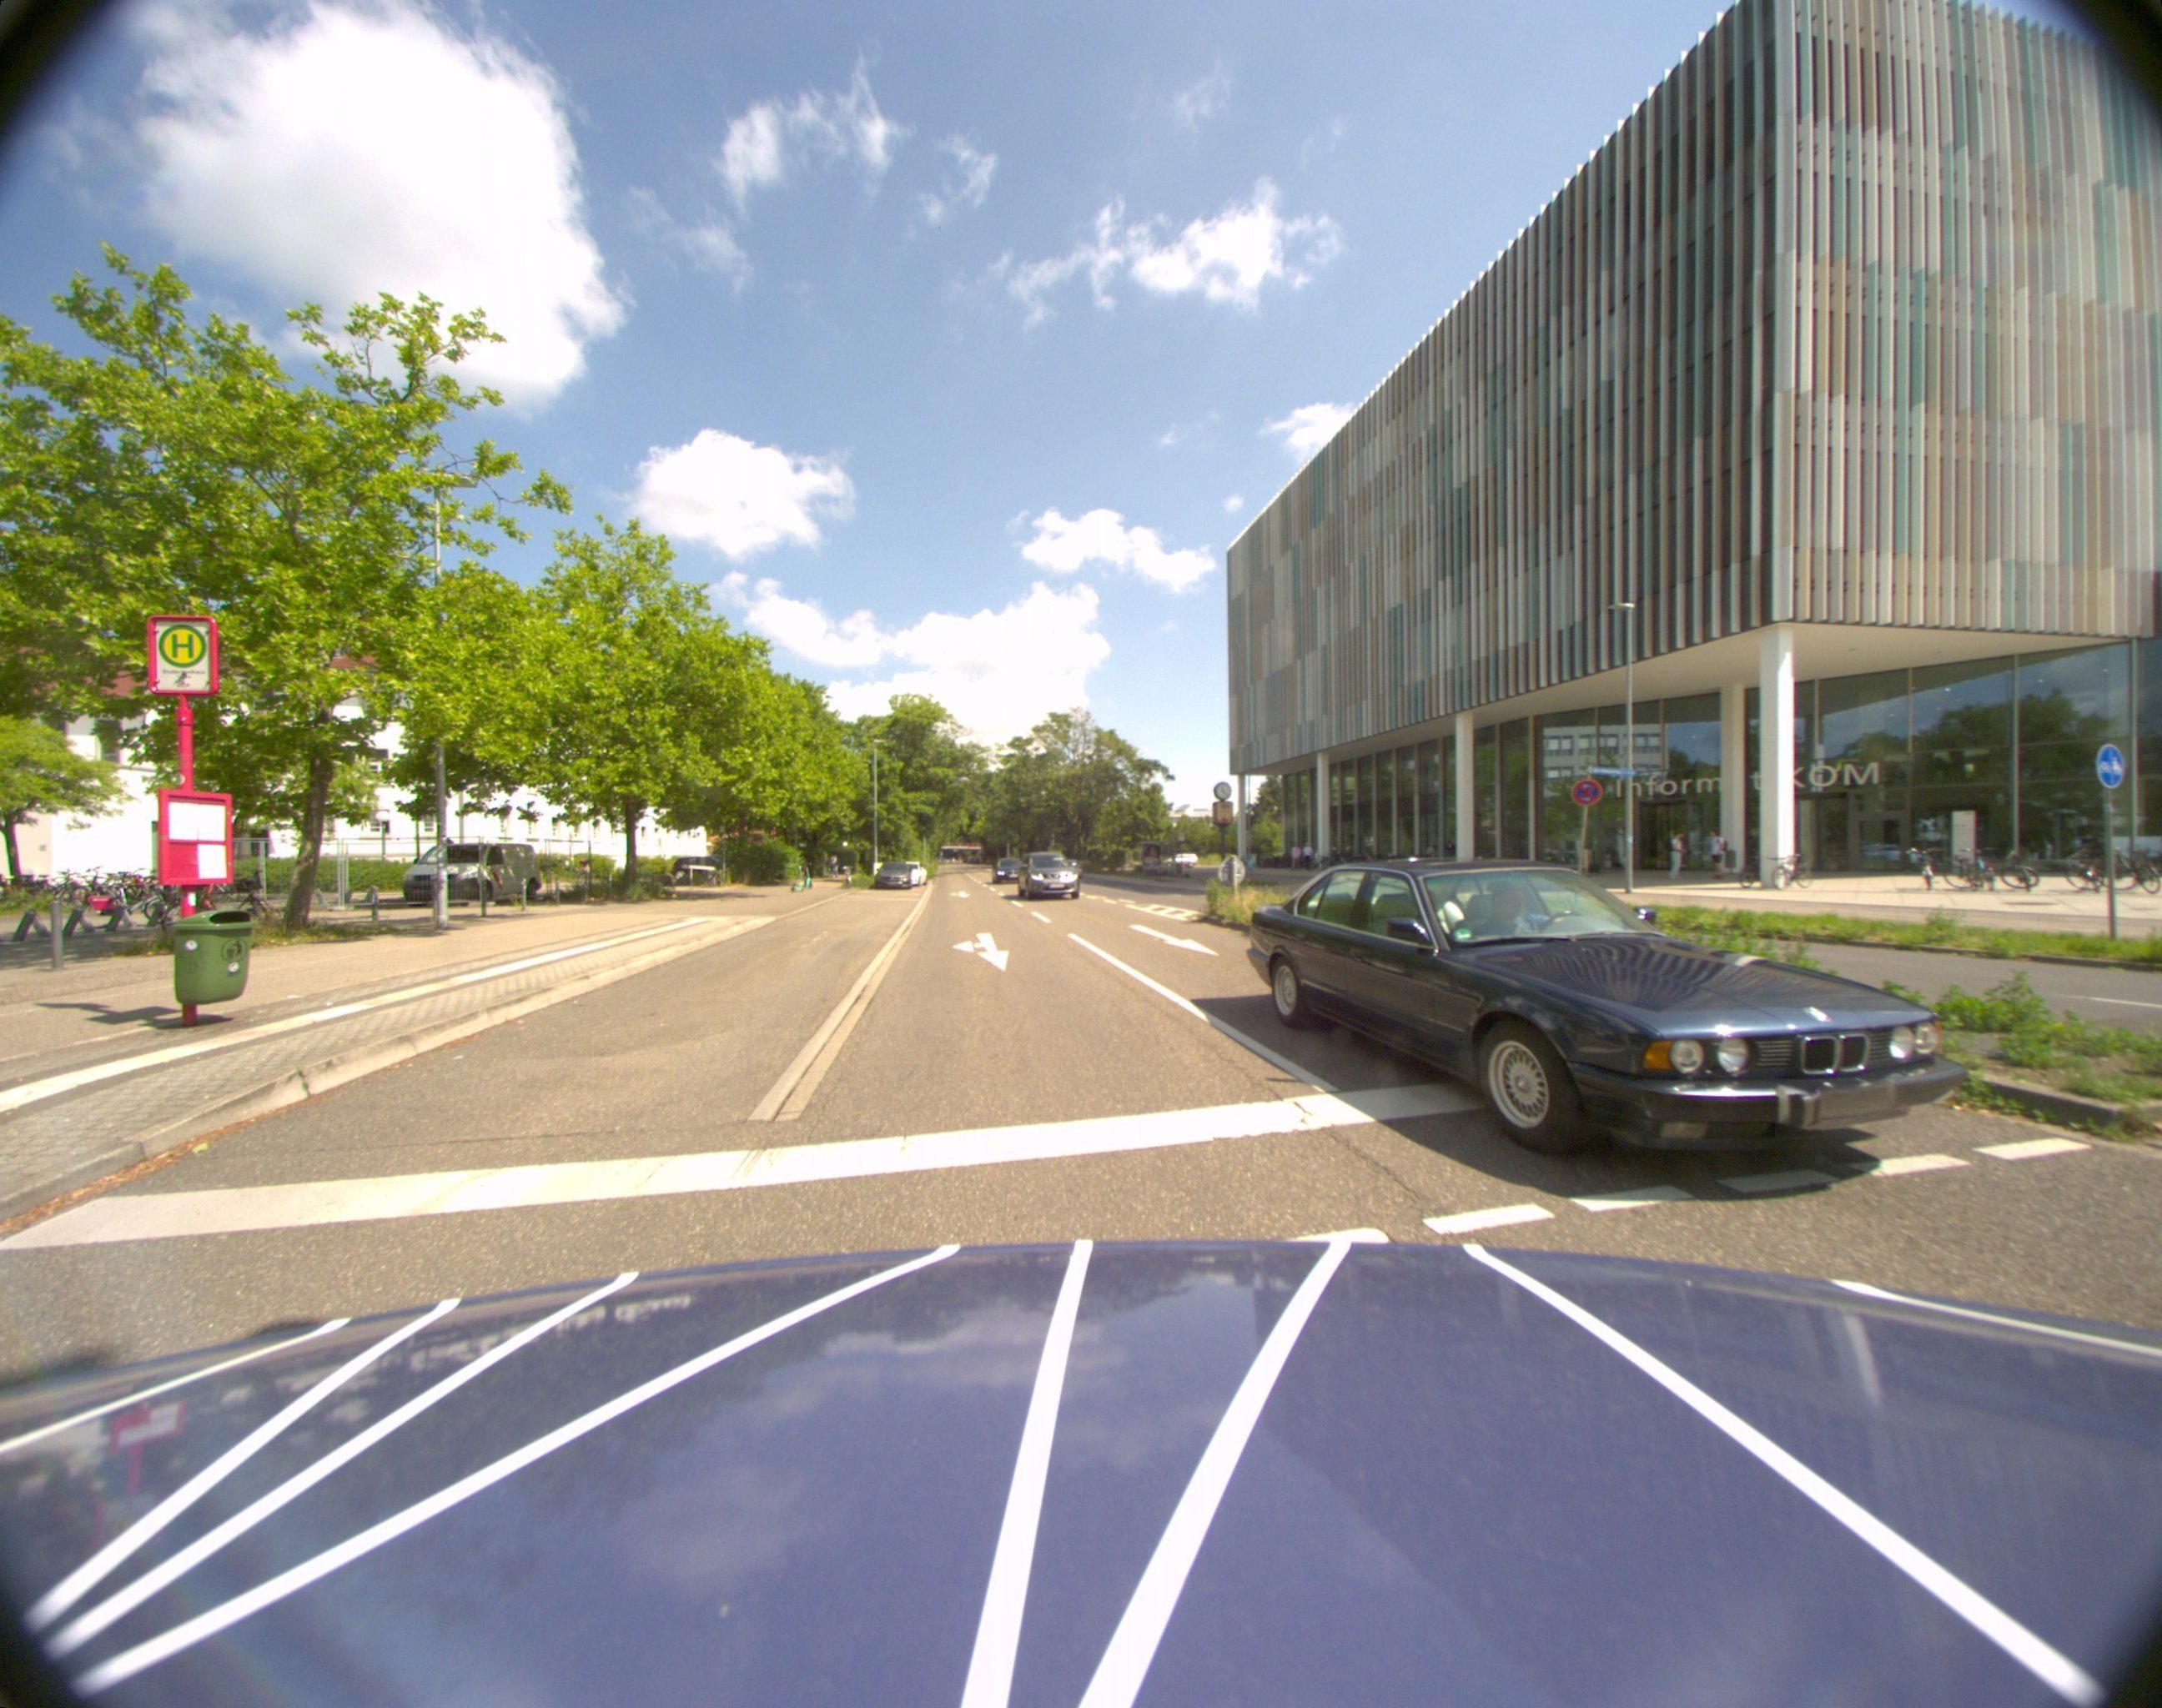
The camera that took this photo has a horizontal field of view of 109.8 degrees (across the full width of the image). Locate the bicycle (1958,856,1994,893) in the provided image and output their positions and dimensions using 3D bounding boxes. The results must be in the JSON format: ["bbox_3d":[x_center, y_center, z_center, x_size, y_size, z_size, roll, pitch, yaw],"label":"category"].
[{"bbox_3d":[24.677,0.548,20.962,0.372,0.950,1.777,0,1,41],"label":"bicycle"}]

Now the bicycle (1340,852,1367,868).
[{"bbox_3d":[17.358,0.368,48.419,1.545,0.950,0.373,-2,1,5],"label":"bicycle"}]

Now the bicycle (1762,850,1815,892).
[{"bbox_3d":[21.658,0.517,23.256,1.547,1.180,0.373,-3,2,-12],"label":"bicycle"}]

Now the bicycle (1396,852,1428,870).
[{"bbox_3d":[18.433,0.403,42.334,1.545,0.950,0.373,-2,1,5],"label":"bicycle"}]

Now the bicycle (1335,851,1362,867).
[{"bbox_3d":[17.252,0.337,49.041,1.545,0.950,0.373,-2,1,5],"label":"bicycle"}]

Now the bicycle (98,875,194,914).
[{"bbox_3d":[-29.279,1.247,23.826,1.771,1.092,0.591,-3,2,-41],"label":"bicycle"}]

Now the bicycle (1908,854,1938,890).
[{"bbox_3d":[23.705,0.486,21.404,0.372,0.950,1.549,0,1,41],"label":"bicycle"}]

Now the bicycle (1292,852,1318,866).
[{"bbox_3d":[16.294,0.370,55.289,1.785,0.950,0.432,-3,1,-10],"label":"bicycle"}]

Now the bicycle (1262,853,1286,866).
[{"bbox_3d":[15.280,0.414,60.041,1.785,0.950,0.432,-3,1,-10],"label":"bicycle"}]

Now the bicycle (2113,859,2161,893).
[{"bbox_3d":[26.313,0.533,18.924,1.777,0.759,0.527,-2,1,-42],"label":"bicycle"}]

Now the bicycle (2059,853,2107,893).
[{"bbox_3d":[25.832,0.481,19.581,1.776,0.950,0.528,-2,1,-30],"label":"bicycle"}]

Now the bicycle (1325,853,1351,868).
[{"bbox_3d":[17.130,0.436,50.657,1.545,0.950,0.373,-2,1,5],"label":"bicycle"}]

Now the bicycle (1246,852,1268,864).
[{"bbox_3d":[14.715,0.315,63.499,1.785,0.950,0.432,-3,1,-10],"label":"bicycle"}]

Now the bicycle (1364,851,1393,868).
[{"bbox_3d":[17.723,0.316,45.245,1.545,0.950,0.373,-2,1,5],"label":"bicycle"}]

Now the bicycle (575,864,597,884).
[{"bbox_3d":[-29.236,1.154,44.925,0.608,1.131,1.585,0,1,-15],"label":"bicycle"}]

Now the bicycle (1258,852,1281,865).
[{"bbox_3d":[15.171,0.333,61.088,1.785,0.950,0.432,-3,1,-10],"label":"bicycle"}]

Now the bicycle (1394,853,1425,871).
[{"bbox_3d":[18.526,0.426,42.913,1.545,0.950,0.373,-2,1,5],"label":"bicycle"}]

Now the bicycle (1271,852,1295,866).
[{"bbox_3d":[15.620,0.378,58.711,1.785,0.950,0.432,-3,1,-10],"label":"bicycle"}]

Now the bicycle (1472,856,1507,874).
[{"bbox_3d":[20.037,0.532,37.267,1.546,0.771,0.373,-3,1,-7],"label":"bicycle"}]

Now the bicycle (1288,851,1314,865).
[{"bbox_3d":[16.360,0.317,56.451,1.785,0.950,0.432,-3,1,-10],"label":"bicycle"}]

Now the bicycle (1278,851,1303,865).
[{"bbox_3d":[15.943,0.315,57.720,1.785,0.950,0.432,-3,1,-10],"label":"bicycle"}]

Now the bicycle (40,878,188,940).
[{"bbox_3d":[-20.076,1.115,15.833,1.771,1.092,0.602,-3,2,-41],"label":"bicycle"}]

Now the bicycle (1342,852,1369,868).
[{"bbox_3d":[17.307,0.389,47.867,1.545,0.950,0.373,-2,1,5],"label":"bicycle"}]

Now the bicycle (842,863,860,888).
[{"bbox_3d":[-11.544,1.067,38.141,0.640,1.183,2.117,1,0,-10],"label":"bicycle"}]

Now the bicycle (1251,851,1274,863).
[{"bbox_3d":[14.928,0.253,62.515,1.785,0.950,0.432,-3,1,-10],"label":"bicycle"}]

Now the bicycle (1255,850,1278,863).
[{"bbox_3d":[15.095,0.229,61.753,1.785,0.950,0.432,-3,1,-10],"label":"bicycle"}]

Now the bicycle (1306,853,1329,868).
[{"bbox_3d":[15.949,0.432,51.295,1.548,0.950,0.373,-3,1,-21],"label":"bicycle"}]

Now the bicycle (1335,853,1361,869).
[{"bbox_3d":[17.364,0.474,49.458,1.545,0.950,0.373,-2,1,5],"label":"bicycle"}]

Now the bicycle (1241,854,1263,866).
[{"bbox_3d":[14.566,0.485,64.632,1.785,0.950,0.432,-3,1,-10],"label":"bicycle"}]

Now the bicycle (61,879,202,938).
[{"bbox_3d":[-20.454,1.155,16.426,1.771,1.092,0.602,-3,2,-41],"label":"bicycle"}]

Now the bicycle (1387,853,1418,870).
[{"bbox_3d":[18.454,0.430,43.600,1.545,0.950,0.373,-2,1,5],"label":"bicycle"}]

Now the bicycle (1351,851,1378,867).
[{"bbox_3d":[17.515,0.315,46.946,1.545,0.950,0.373,-2,1,5],"label":"bicycle"}]

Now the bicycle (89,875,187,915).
[{"bbox_3d":[-28.908,1.238,23.331,1.771,1.092,0.515,-3,2,-41],"label":"bicycle"}]

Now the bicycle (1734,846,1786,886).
[{"bbox_3d":[21.381,0.383,23.919,1.547,1.180,0.373,-3,2,-12],"label":"bicycle"}]

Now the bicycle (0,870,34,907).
[{"bbox_3d":[-33.019,1.071,22.789,1.771,1.092,0.602,-3,2,-41],"label":"bicycle"}]

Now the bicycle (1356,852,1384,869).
[{"bbox_3d":[17.461,0.389,45.906,1.545,0.950,0.373,-2,1,5],"label":"bicycle"}]

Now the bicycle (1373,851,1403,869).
[{"bbox_3d":[18.067,0.345,44.736,1.545,0.950,0.373,-2,1,5],"label":"bicycle"}]
